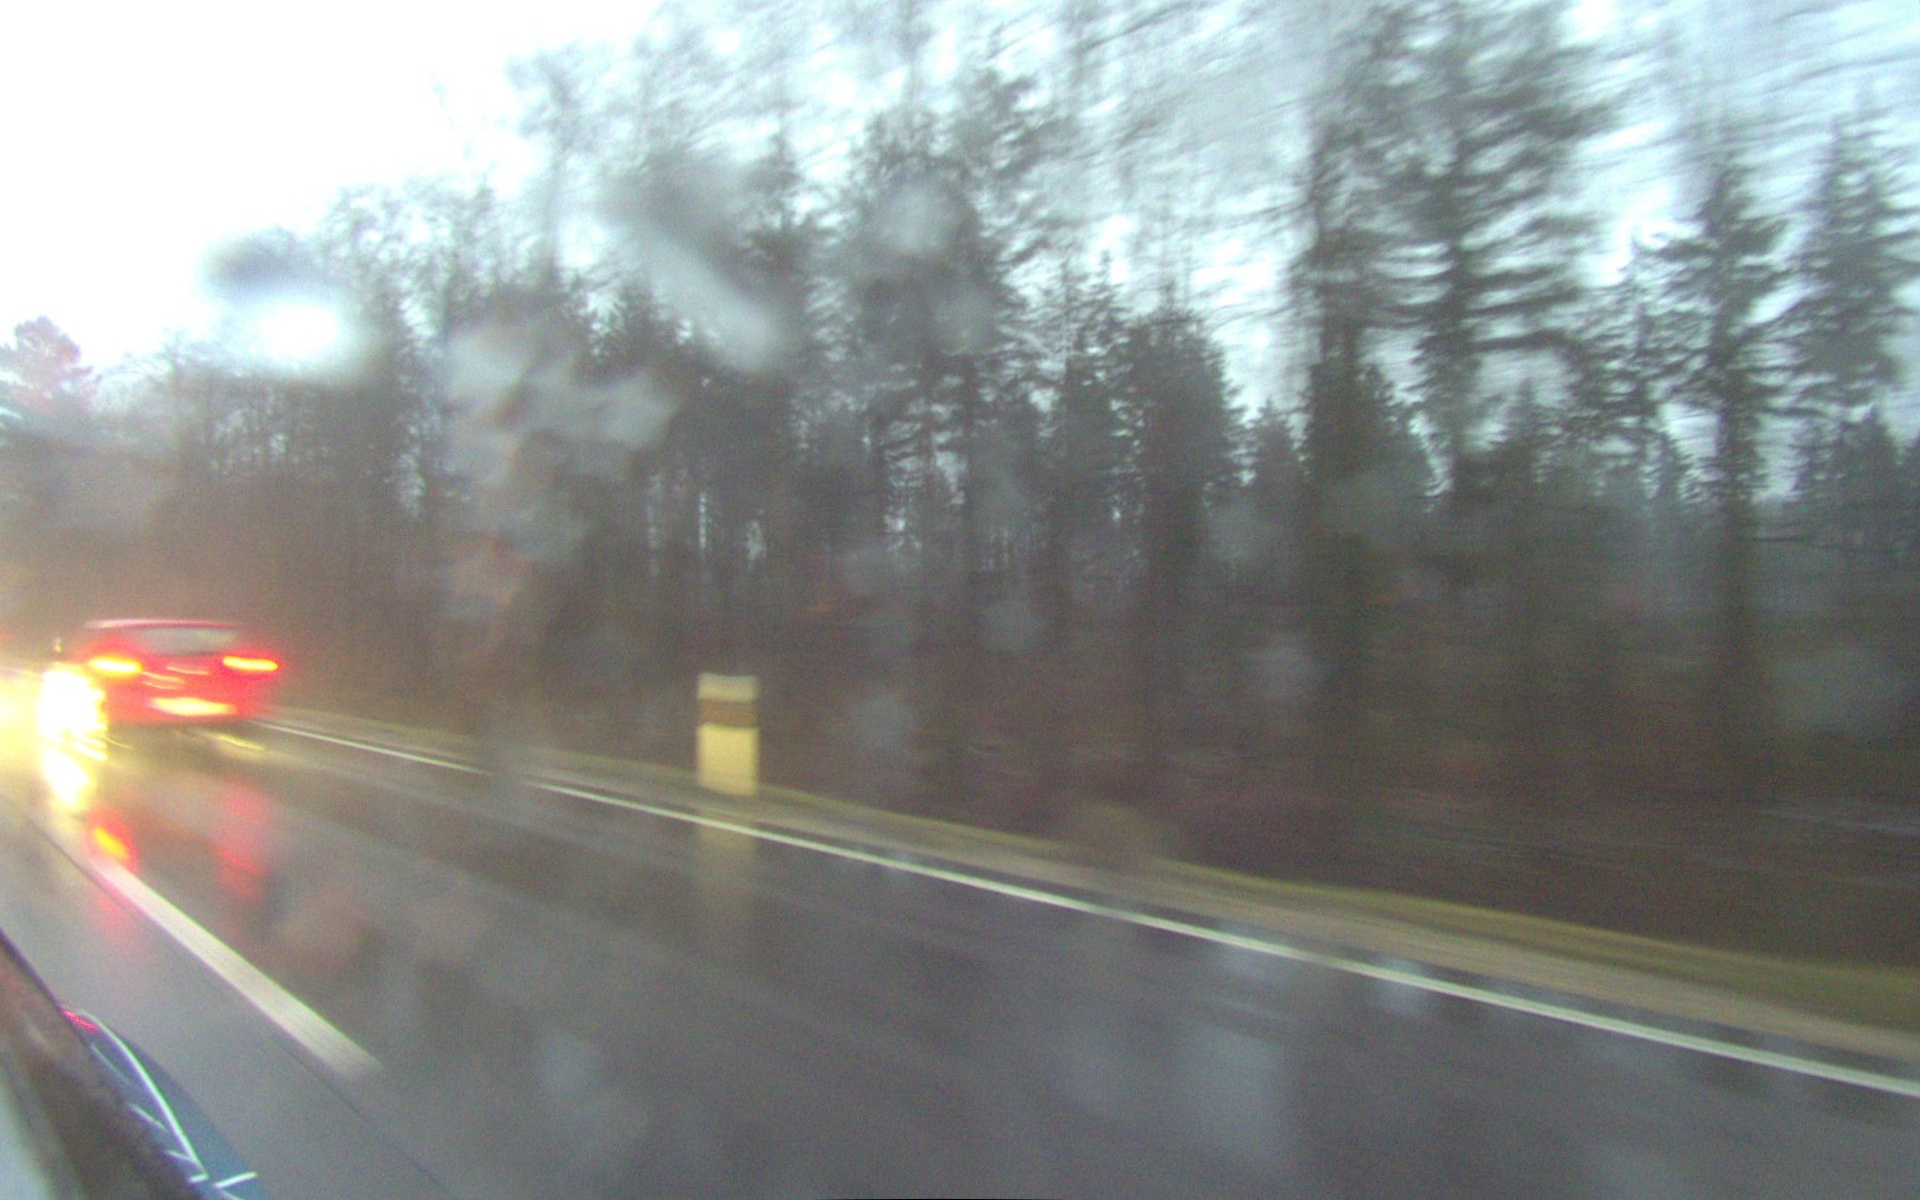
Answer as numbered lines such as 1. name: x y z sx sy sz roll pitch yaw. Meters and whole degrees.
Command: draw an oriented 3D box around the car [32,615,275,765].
1. car: -10.013 0.996 12.465 3.997 1.562 1.565 -1 -3 41
